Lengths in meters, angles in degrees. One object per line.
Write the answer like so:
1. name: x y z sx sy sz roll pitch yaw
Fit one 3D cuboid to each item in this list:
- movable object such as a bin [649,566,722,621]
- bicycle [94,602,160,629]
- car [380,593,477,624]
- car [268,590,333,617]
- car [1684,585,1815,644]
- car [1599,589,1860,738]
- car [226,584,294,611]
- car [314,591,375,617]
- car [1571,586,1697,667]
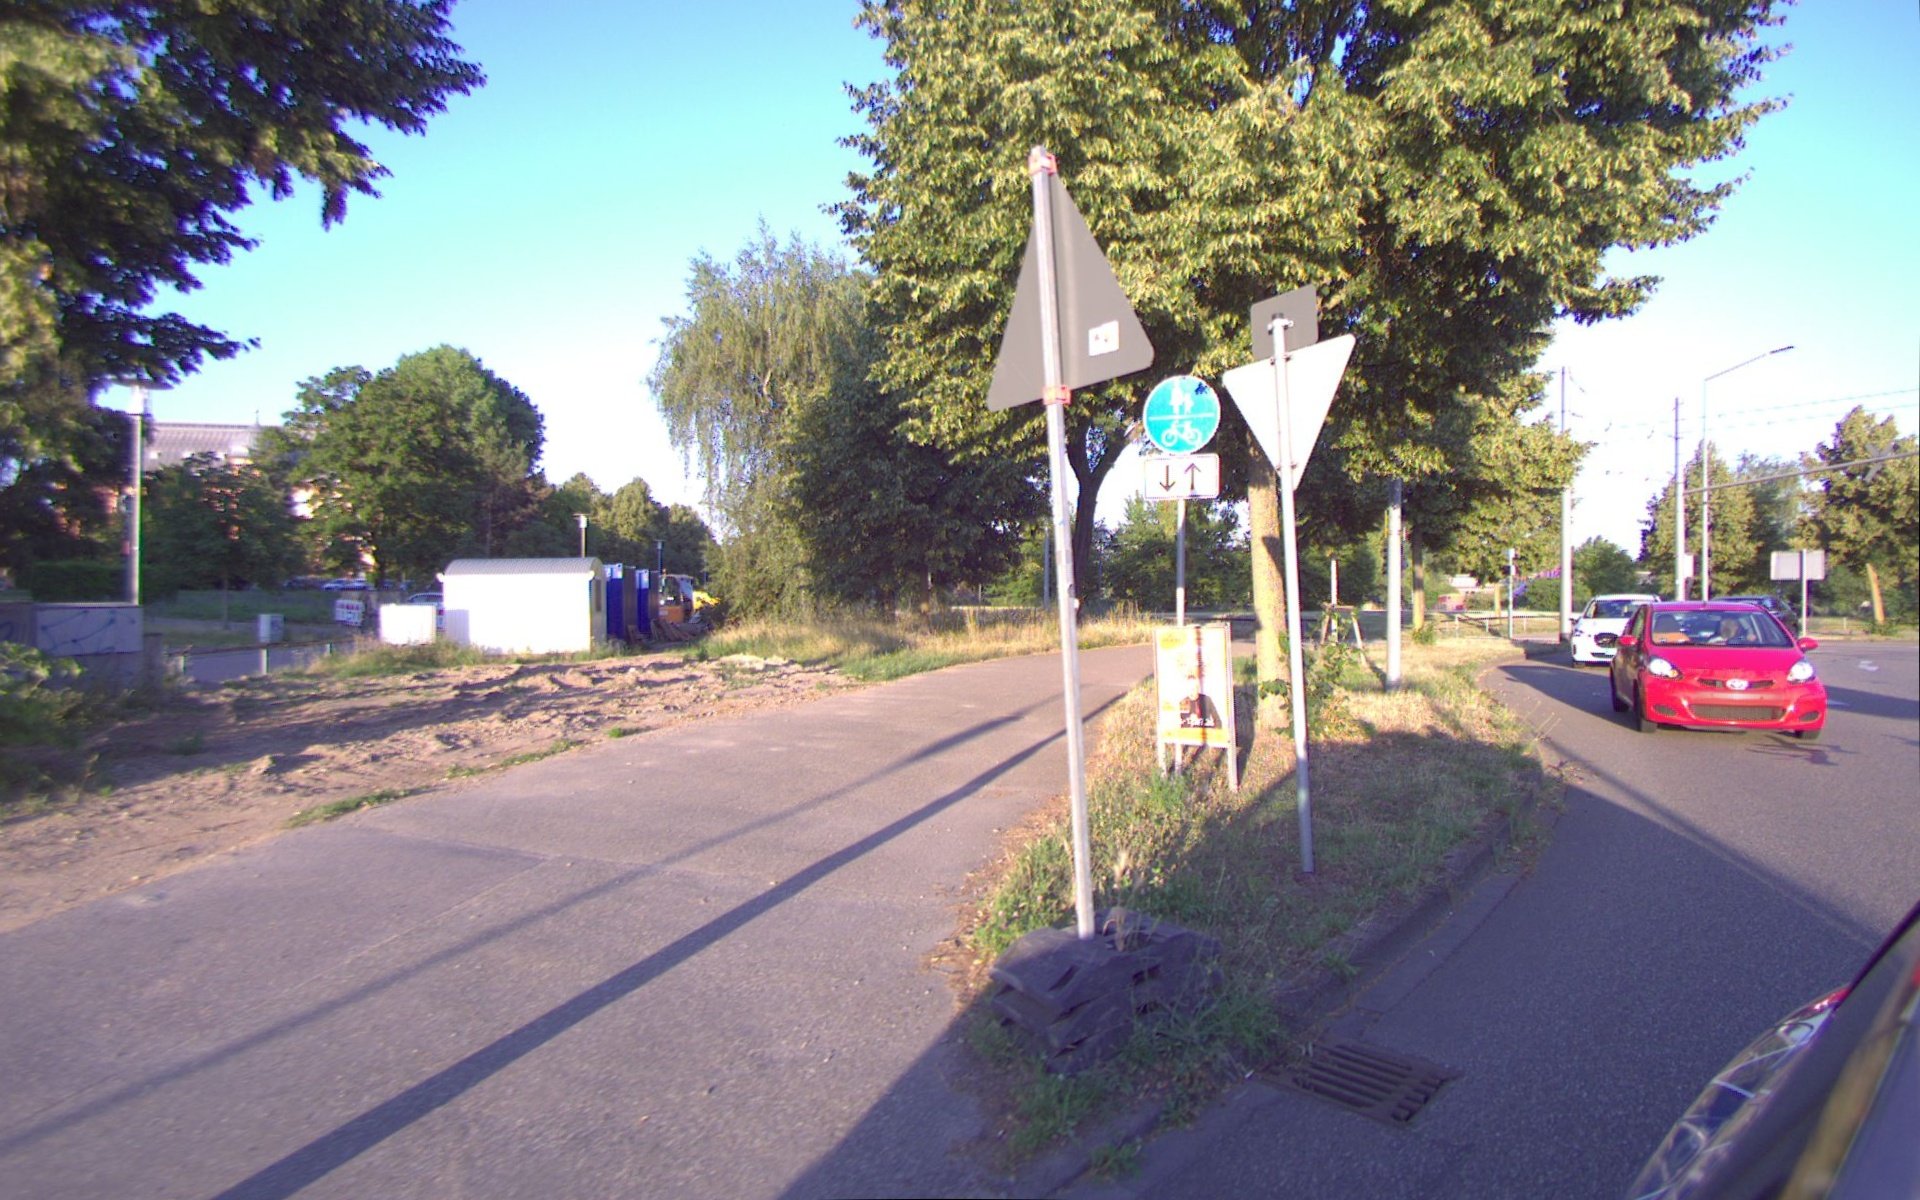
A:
1. movable object such as a bin: -12.696 -0.300 46.902 2.774 2.461 1.892 0 1 5
2. bicycle: -29.113 0.545 35.369 1.811 0.890 0.406 2 0 -8
3. car: -26.236 0.402 50.054 3.916 1.505 1.898 0 0 -14
4. car: -38.238 0.172 58.742 1.855 1.505 3.836 0 0 -11
5. car: 22.587 0.403 28.911 4.134 1.578 1.828 1 0 -35
6. car: 8.914 0.612 12.102 1.678 1.439 4.172 -2 0 26
7. car: -40.346 -0.155 58.408 1.855 1.505 3.836 0 0 -11
8. car: -36.396 0.233 59.950 1.855 1.505 3.836 0 0 -11
9. car: 14.555 0.521 21.760 1.753 1.578 4.152 0 0 41
